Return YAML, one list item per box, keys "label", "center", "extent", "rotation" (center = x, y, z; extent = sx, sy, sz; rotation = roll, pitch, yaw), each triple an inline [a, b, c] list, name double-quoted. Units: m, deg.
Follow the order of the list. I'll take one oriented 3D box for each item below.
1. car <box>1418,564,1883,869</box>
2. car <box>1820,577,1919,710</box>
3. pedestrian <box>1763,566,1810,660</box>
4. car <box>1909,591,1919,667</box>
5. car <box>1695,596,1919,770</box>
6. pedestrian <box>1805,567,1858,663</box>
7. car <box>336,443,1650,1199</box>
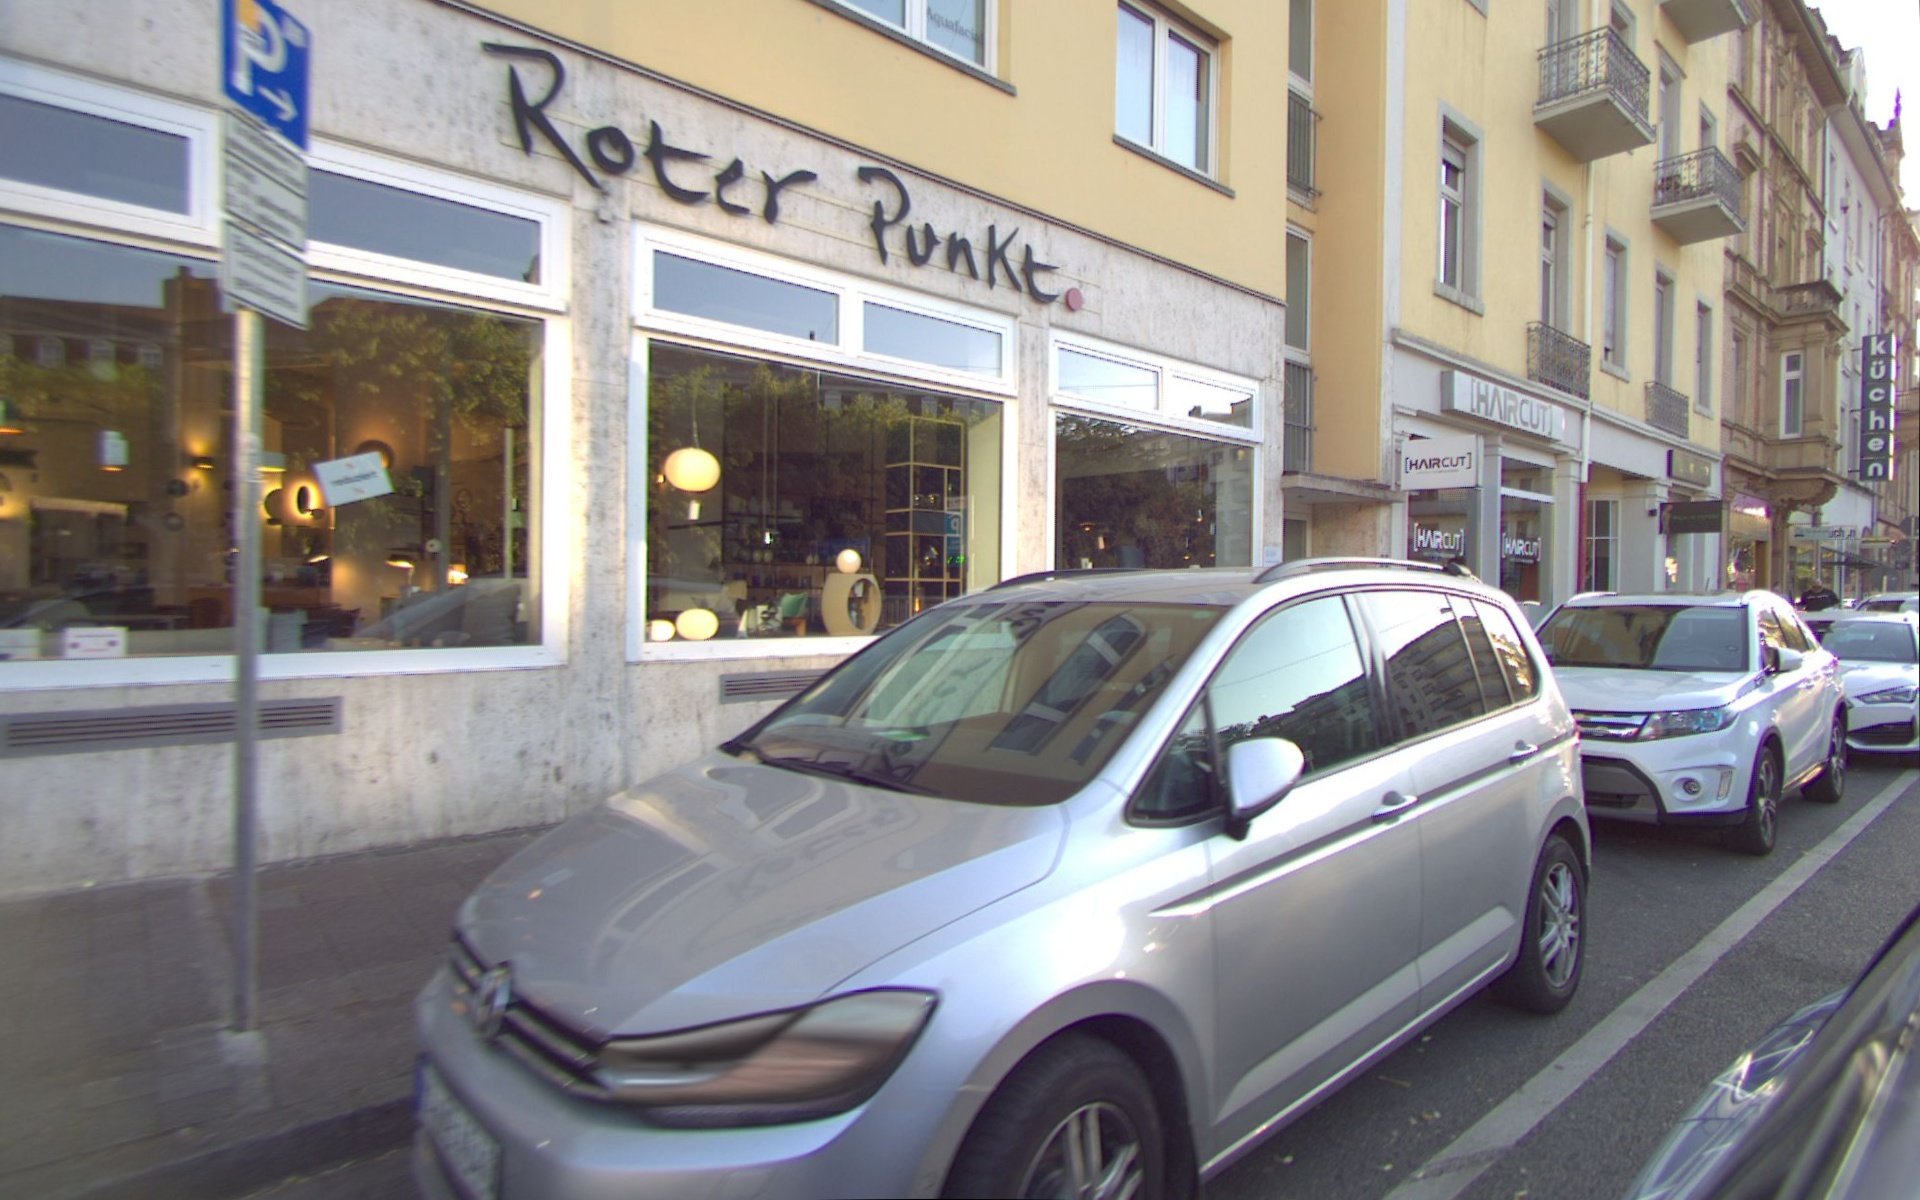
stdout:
- label: "car"
  center: [5.257, 0.615, 7.491]
  extent: [4.128, 1.641, 1.820]
  rotation: [0, 0, -40]
- label: "car"
  center: [13.892, 0.556, 14.373]
  extent: [4.351, 1.695, 1.876]
  rotation: [0, 0, -40]
- label: "pedestrian"
  center: [18.362, 0.277, 22.484]
  extent: [0.836, 2.039, 0.673]
  rotation: [0, 0, -40]
- label: "car"
  center: [21.952, 0.599, 21.764]
  extent: [4.373, 1.560, 1.906]
  rotation: [0, 0, -42]
- label: "car"
  center: [9.472, 0.703, 10.699]
  extent: [4.528, 1.475, 1.737]
  rotation: [0, 0, -40]
- label: "pedestrian"
  center: [19.053, 0.322, 22.133]
  extent: [0.836, 2.039, 0.763]
  rotation: [0, 0, -40]
- label: "car"
  center: [0.719, 0.614, 3.432]
  extent: [4.603, 1.637, 1.699]
  rotation: [0, 0, -43]
